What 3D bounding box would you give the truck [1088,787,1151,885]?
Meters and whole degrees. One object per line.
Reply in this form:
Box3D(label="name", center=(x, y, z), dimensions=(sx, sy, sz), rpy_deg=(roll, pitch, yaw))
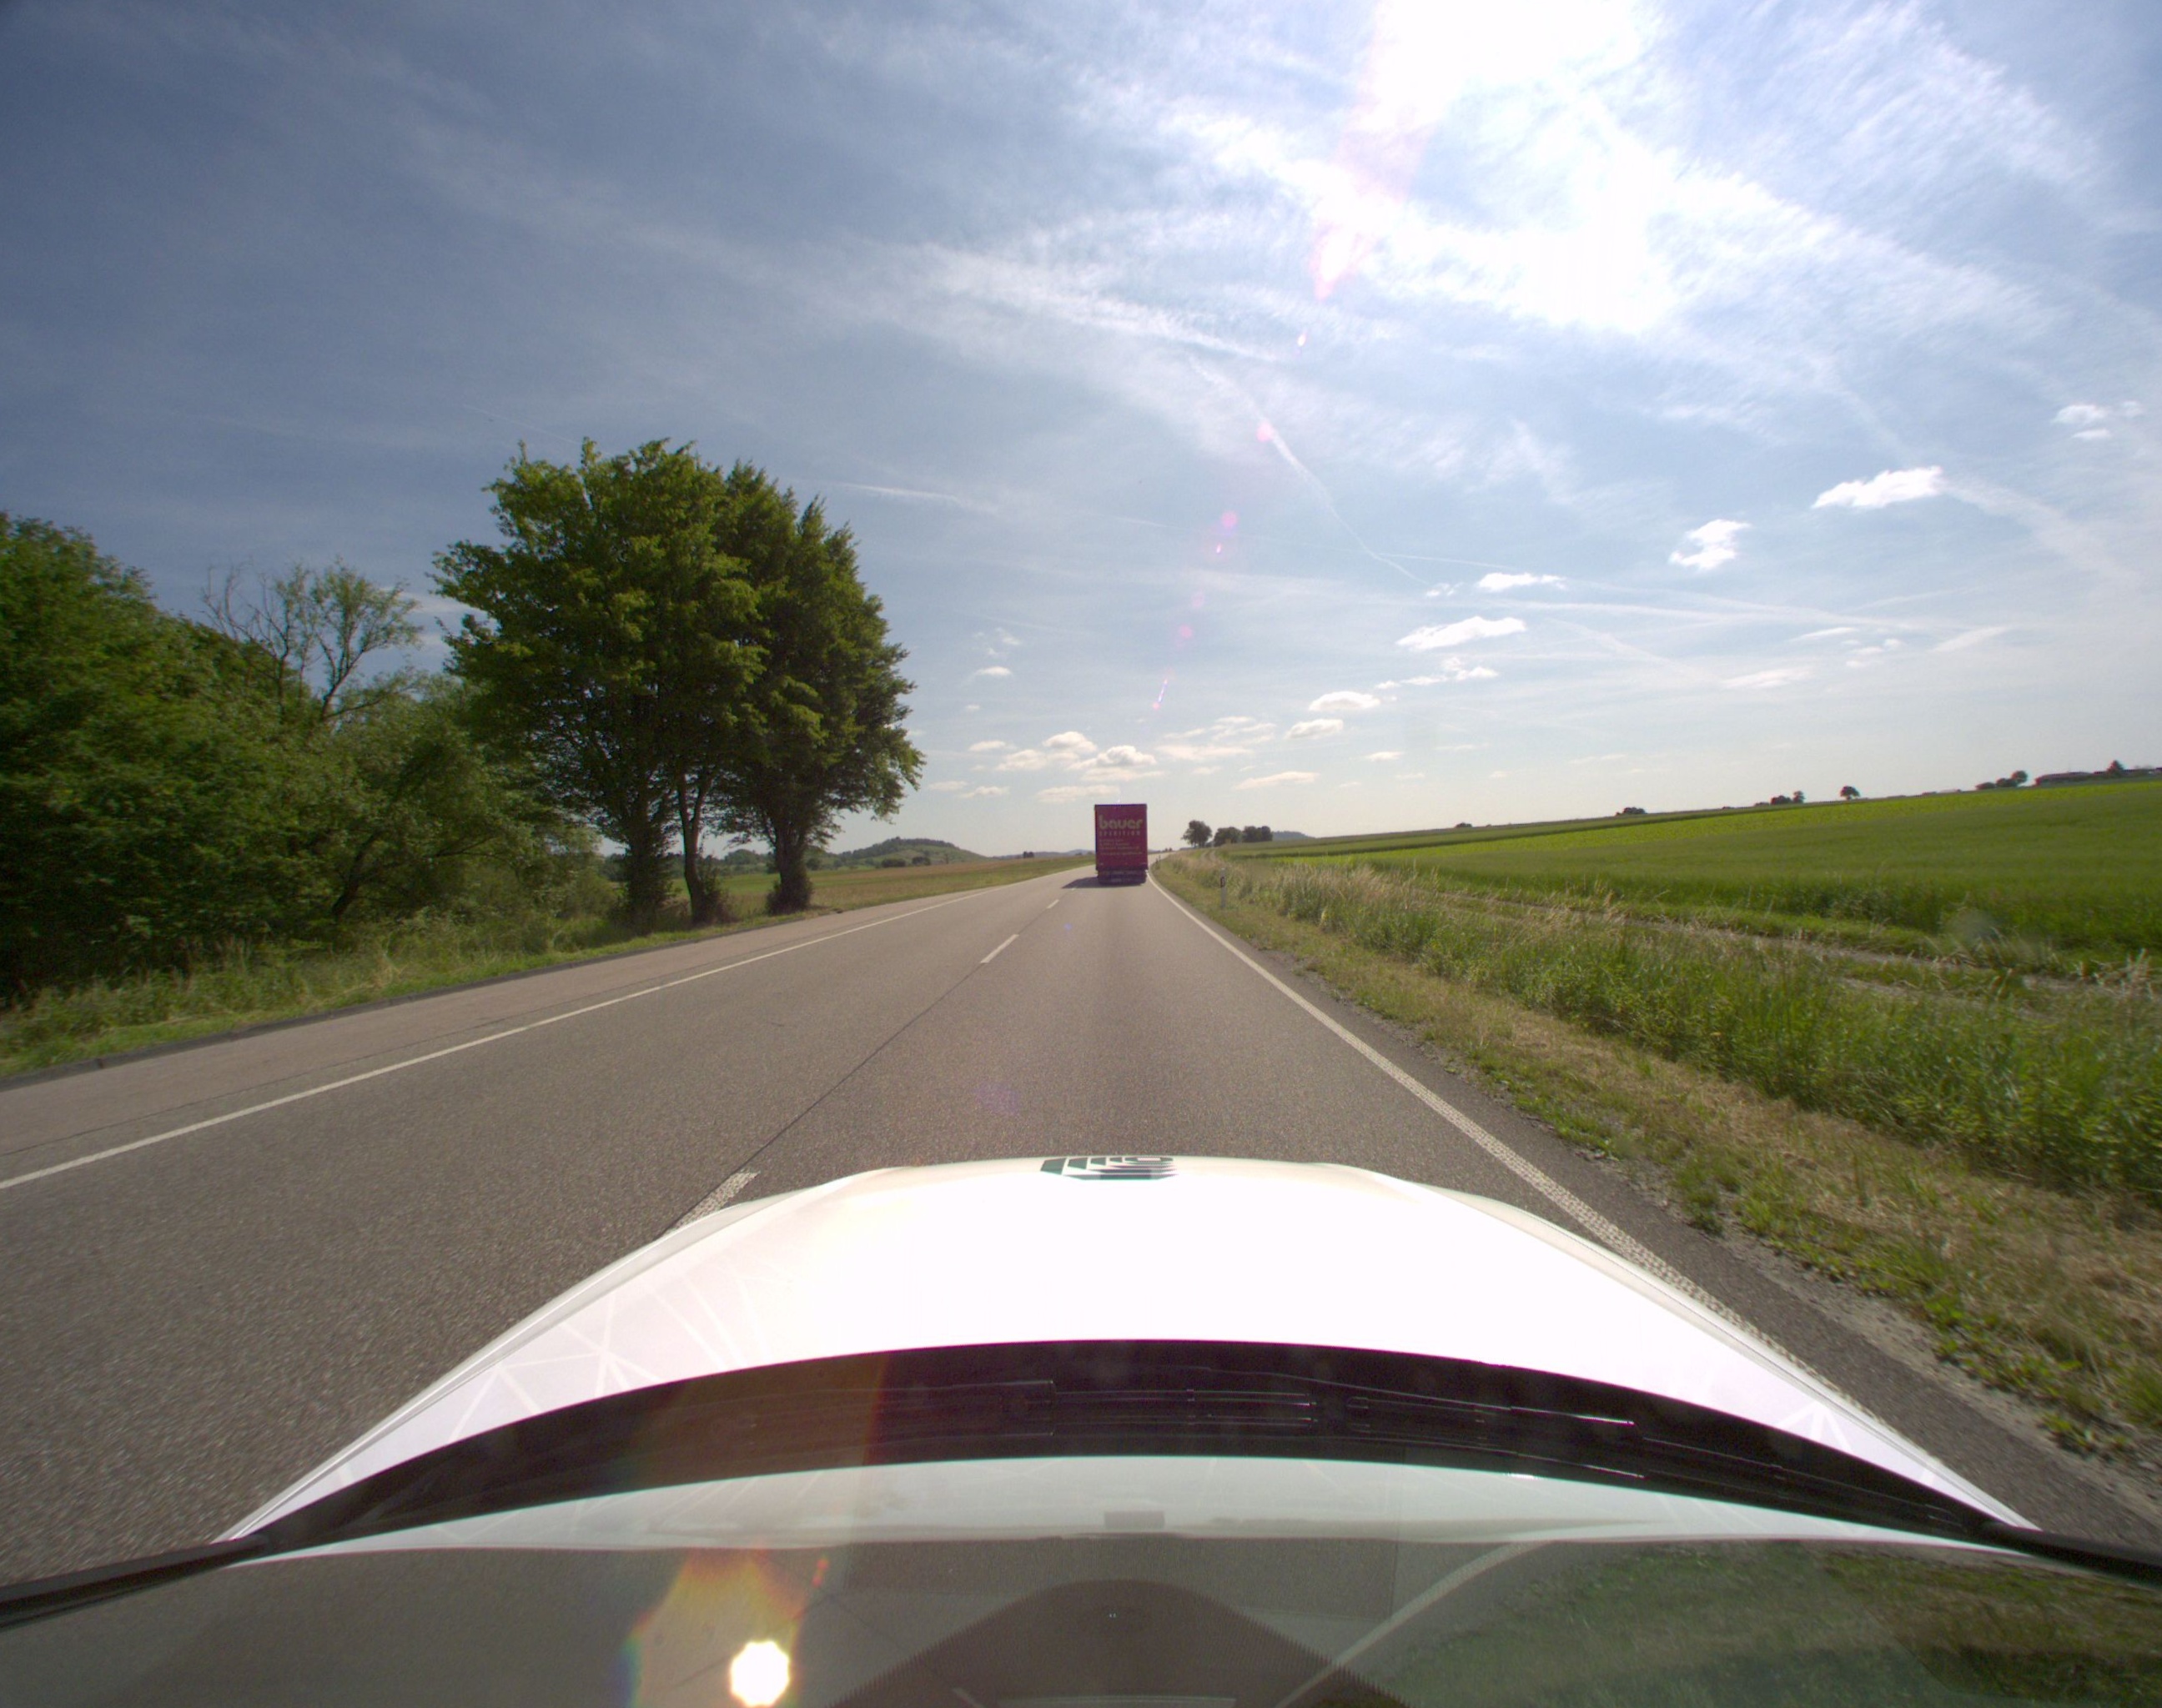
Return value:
Box3D(label="truck", center=(1.964, -0.842, 43.701), dimensions=(2.964, 4.713, 9.368), rpy_deg=(0, 0, 1))
